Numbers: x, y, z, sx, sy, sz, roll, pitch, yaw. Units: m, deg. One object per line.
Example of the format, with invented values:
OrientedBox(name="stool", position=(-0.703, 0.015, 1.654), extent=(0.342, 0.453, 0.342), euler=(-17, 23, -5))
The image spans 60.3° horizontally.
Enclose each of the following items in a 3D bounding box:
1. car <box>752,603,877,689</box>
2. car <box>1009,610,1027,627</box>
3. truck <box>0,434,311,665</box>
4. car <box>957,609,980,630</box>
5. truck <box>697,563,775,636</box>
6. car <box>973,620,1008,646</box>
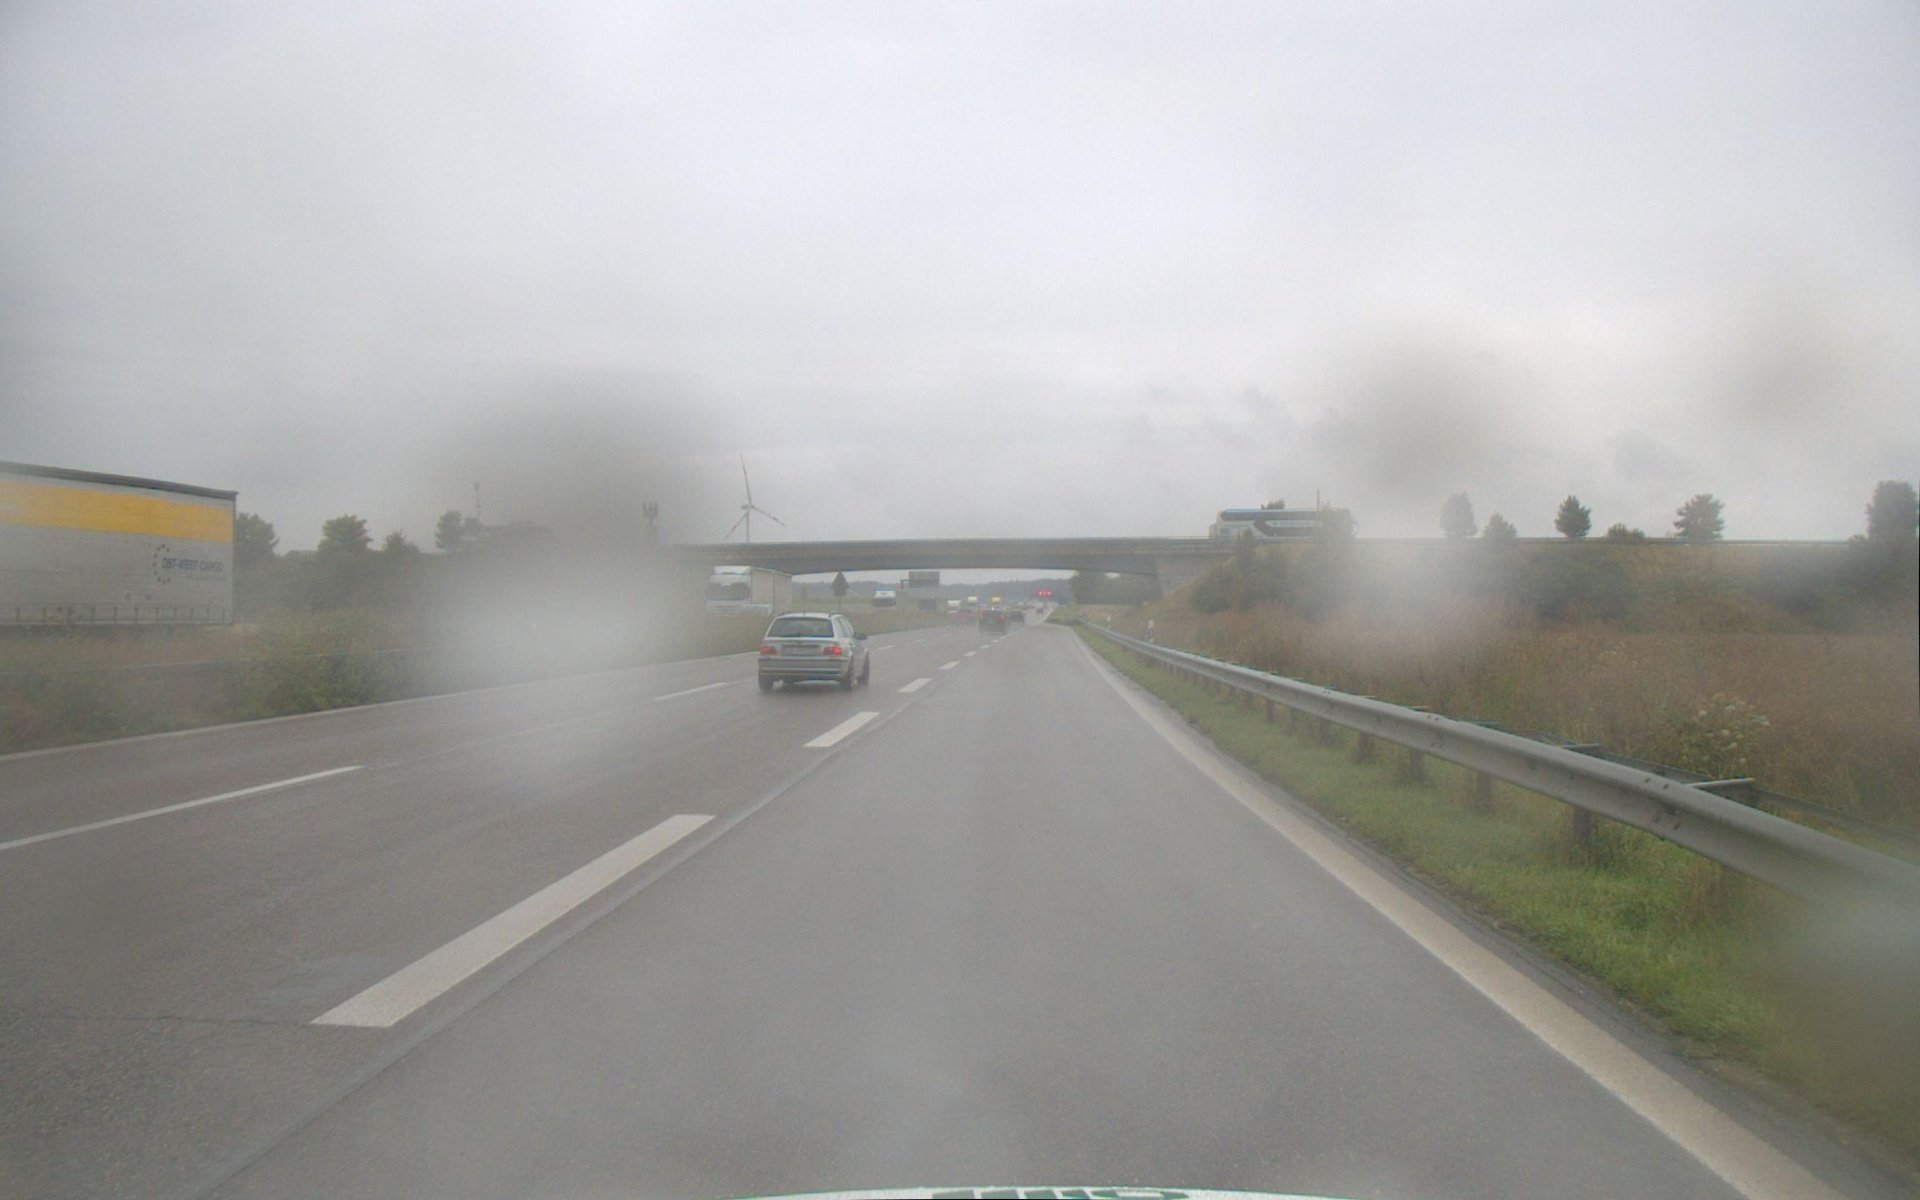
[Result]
OrientedBox(name="car", position=(-2.707, 0.838, 31.731), extent=(1.835, 1.514, 4.797), euler=(0, -1, 2))
OrientedBox(name="car", position=(6.560, 2.077, 187.760), extent=(1.952, 1.727, 4.002), euler=(-2, 2, 3))
OrientedBox(name="truck", position=(-18.166, -0.906, 33.558), extent=(3.128, 4.036, 15.323), euler=(2, 0, 3))
OrientedBox(name="car", position=(0.846, 1.838, 155.936), extent=(1.952, 1.780, 4.002), euler=(-2, 2, 2))
OrientedBox(name="truck", position=(-14.466, -0.010, 107.534), extent=(3.161, 4.462, 10.517), euler=(-1, 0, 3))
OrientedBox(name="car", position=(2.033, 2.169, 108.478), extent=(2.100, 1.665, 4.596), euler=(1, -1, 3))
